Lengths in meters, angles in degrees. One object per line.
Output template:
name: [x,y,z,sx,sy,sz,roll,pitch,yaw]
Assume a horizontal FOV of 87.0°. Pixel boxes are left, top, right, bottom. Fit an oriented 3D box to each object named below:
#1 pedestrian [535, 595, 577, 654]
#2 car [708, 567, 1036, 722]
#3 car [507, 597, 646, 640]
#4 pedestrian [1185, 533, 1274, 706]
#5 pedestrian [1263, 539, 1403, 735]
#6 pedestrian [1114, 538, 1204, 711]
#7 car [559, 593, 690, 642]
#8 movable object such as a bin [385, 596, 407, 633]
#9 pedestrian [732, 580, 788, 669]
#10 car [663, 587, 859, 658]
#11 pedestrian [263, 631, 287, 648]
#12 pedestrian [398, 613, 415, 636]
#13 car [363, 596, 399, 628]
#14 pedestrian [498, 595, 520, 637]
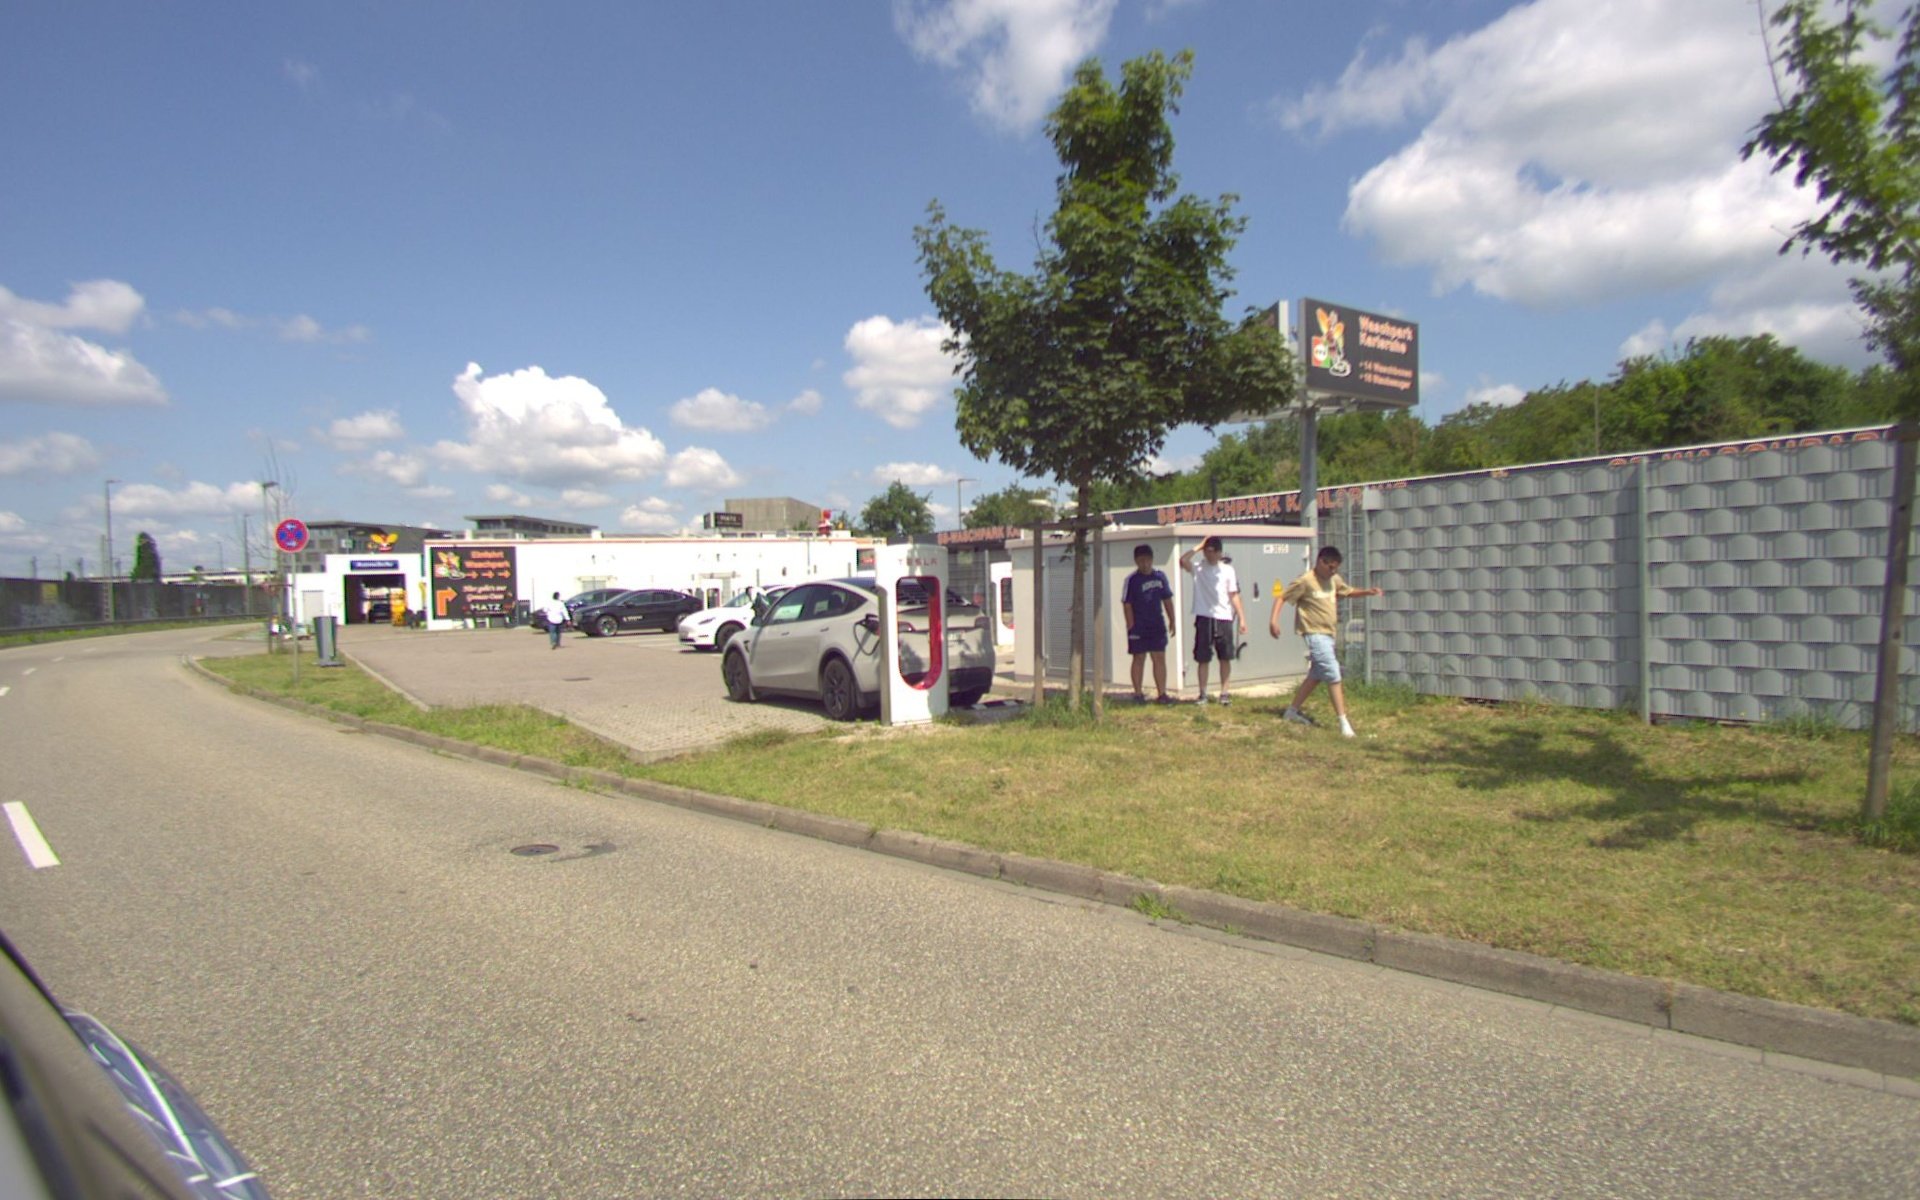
pedestrian: [-11.736,0.707,29.394,0.851,1.665,0.943,-2,0,-39]
car: [-1.339,0.519,12.776,1.905,1.529,4.786,-3,0,-36]
car: [-15.323,0.708,40.540,4.685,1.466,2.242,-3,1,-39]
pedestrian: [2.558,0.174,9.678,0.751,1.577,0.711,0,1,10]
pedestrian: [3.150,0.289,8.567,0.728,1.553,0.818,-1,1,-33]
pedestrian: [1.903,0.225,9.750,0.704,1.591,0.722,-1,0,1]
car: [-11.832,0.574,35.802,3.935,1.530,2.004,-3,2,-37]
movable object such as a bin: [-34.990,0.864,62.817,1.048,2.168,2.713,-2,2,-26]
pedestrian: [-4.107,0.485,20.790,0.851,1.764,0.729,-3,1,-38]
car: [-5.070,0.530,26.065,4.493,1.535,2.004,-3,1,-39]
pedestrian: [-32.289,1.866,47.710,0.850,0.766,0.820,-1,-1,-28]
pedestrian: [-31.390,1.389,57.355,0.742,1.266,0.902,-2,1,-25]
car: [-40.831,0.830,71.417,1.965,2.125,5.027,-1,1,-27]
pedestrian: [-22.424,0.782,50.312,0.925,2.028,0.868,-2,2,-28]
